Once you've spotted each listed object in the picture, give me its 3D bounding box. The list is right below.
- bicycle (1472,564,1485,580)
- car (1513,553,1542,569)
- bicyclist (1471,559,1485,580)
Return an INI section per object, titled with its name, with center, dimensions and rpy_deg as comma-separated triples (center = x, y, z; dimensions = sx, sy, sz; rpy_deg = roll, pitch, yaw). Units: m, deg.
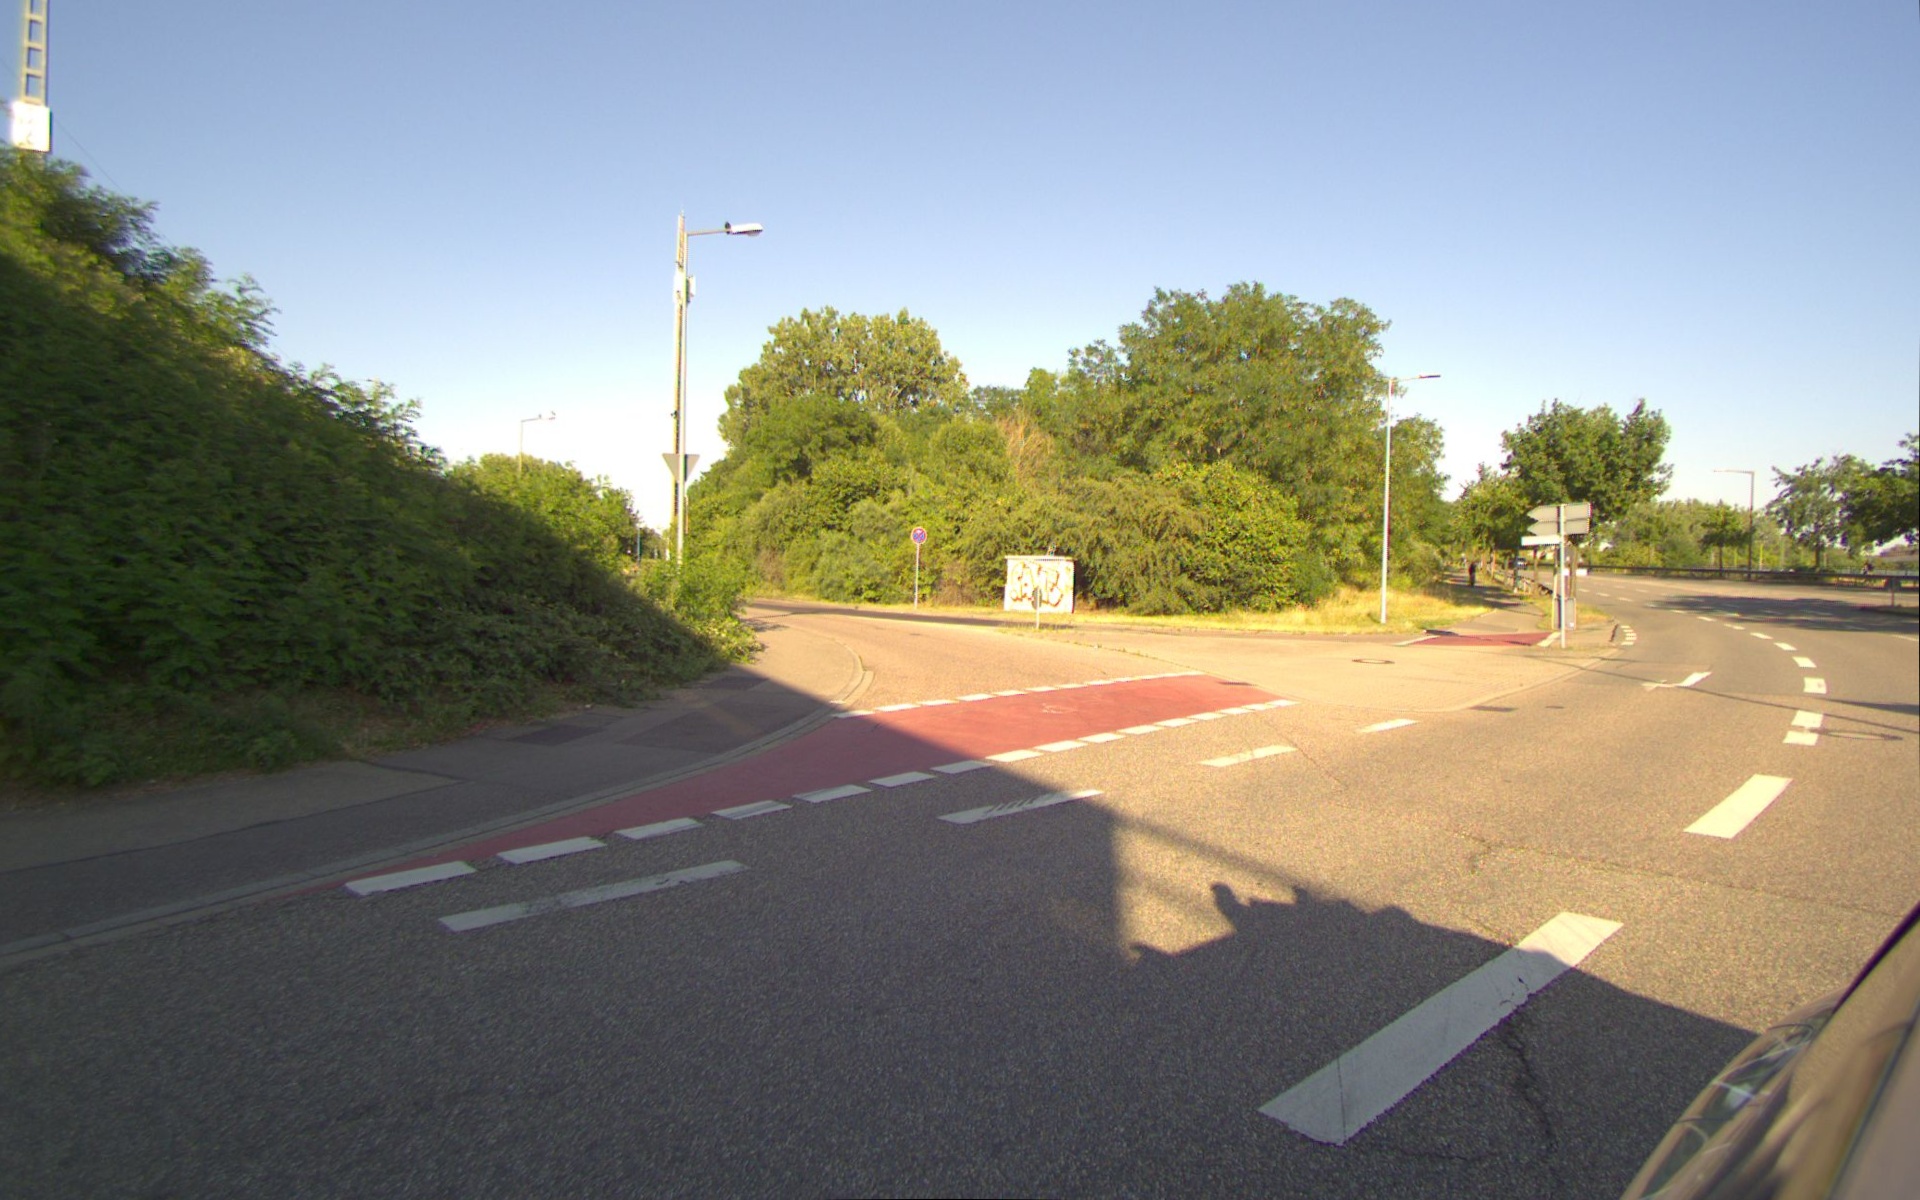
[bicycle]
center = 35.097, -1.882, 68.465
dimensions = 0.775, 1.070, 2.473
rpy_deg = 0, 0, 27
[car]
center = 66.533, -4.558, 118.640
dimensions = 1.971, 1.794, 3.982
rpy_deg = 0, 0, 15
[bicyclist]
center = 35.146, -2.065, 68.615
dimensions = 0.836, 1.439, 1.103
rpy_deg = 0, 0, 28
